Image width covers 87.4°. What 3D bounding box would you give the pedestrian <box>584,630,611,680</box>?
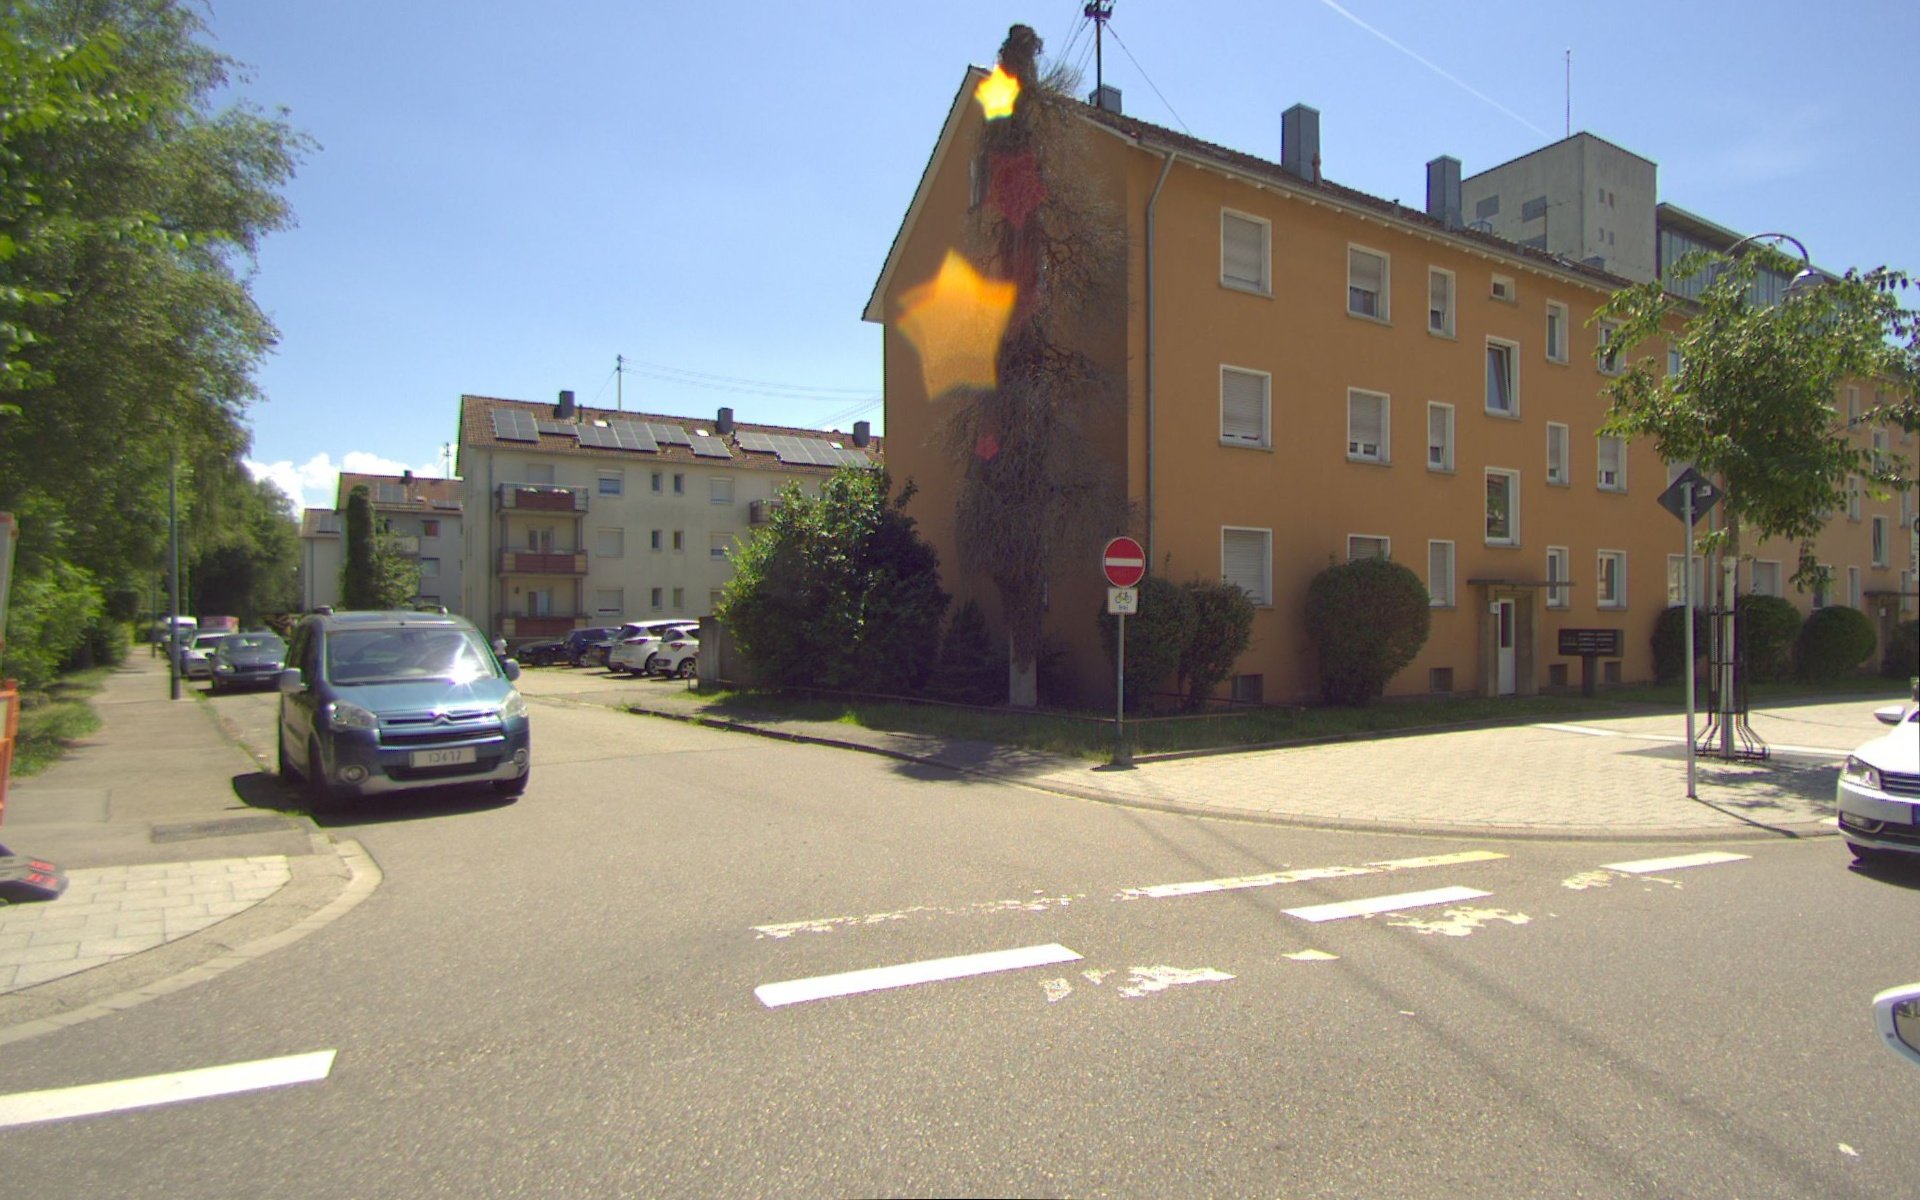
[{"bbox_3d":[-11.441,1.712,31.701,0.686,1.531,0.727,0,0,-28],"label":"pedestrian"}]

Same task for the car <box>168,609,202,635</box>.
[{"bbox_3d":[-62.663,1.742,81.280,1.980,2.040,3.961,1,-1,-35],"label":"car"}]

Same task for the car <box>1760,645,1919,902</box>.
[{"bbox_3d":[7.917,1.118,7.164,4.235,1.527,1.985,0,-1,-29],"label":"car"}]

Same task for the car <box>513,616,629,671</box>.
[{"bbox_3d":[-15.134,1.655,39.124,3.955,2.040,1.983,1,-1,-31],"label":"car"}]

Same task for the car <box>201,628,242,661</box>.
[{"bbox_3d":[-48.175,2.875,65.477,1.983,2.040,3.956,1,-2,-39],"label":"car"}]

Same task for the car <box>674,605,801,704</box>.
[{"bbox_3d":[-5.161,1.197,22.873,1.973,2.040,3.975,0,-2,-26],"label":"car"}]

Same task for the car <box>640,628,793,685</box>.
[{"bbox_3d":[-7.148,1.608,29.601,3.962,1.524,1.980,1,-1,-37],"label":"car"}]

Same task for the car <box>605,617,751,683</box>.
[{"bbox_3d":[-8.696,1.490,31.064,3.958,1.840,1.981,0,0,-34],"label":"car"}]

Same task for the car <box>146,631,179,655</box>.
[{"bbox_3d":[-71.171,3.784,89.683,1.979,2.040,3.963,1,-1,-34],"label":"car"}]

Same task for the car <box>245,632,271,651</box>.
[{"bbox_3d":[-77.179,4.501,110.455,1.977,2.040,3.968,0,-2,-31],"label":"car"}]

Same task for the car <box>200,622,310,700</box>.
[{"bbox_3d":[-18.145,1.502,25.761,1.983,1.825,4.387,1,-2,-40],"label":"car"}]

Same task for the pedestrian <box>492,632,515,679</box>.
[{"bbox_3d":[-15.518,1.876,34.125,0.686,1.531,0.727,0,0,-28],"label":"pedestrian"}]

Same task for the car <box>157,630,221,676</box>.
[{"bbox_3d":[-32.237,2.177,41.954,1.983,1.825,4.387,1,-2,-40],"label":"car"}]

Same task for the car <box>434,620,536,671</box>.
[{"bbox_3d":[-18.936,1.789,40.037,3.509,1.812,1.546,-2,0,-31],"label":"car"}]

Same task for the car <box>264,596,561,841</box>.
[{"bbox_3d":[-5.702,0.991,10.157,1.804,1.899,4.387,-1,-1,-40],"label":"car"}]

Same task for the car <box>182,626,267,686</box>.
[{"bbox_3d":[-24.144,1.780,32.903,1.983,1.825,4.387,1,-2,-40],"label":"car"}]

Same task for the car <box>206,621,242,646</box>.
[{"bbox_3d":[-72.730,3.292,99.319,2.103,2.406,4.703,0,-1,-28],"label":"car"}]

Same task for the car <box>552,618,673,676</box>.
[{"bbox_3d":[-12.936,1.697,37.445,3.955,2.040,1.983,1,-1,-31],"label":"car"}]

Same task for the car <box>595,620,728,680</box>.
[{"bbox_3d":[-10.136,1.637,34.187,3.958,1.840,1.981,0,0,-34],"label":"car"}]
